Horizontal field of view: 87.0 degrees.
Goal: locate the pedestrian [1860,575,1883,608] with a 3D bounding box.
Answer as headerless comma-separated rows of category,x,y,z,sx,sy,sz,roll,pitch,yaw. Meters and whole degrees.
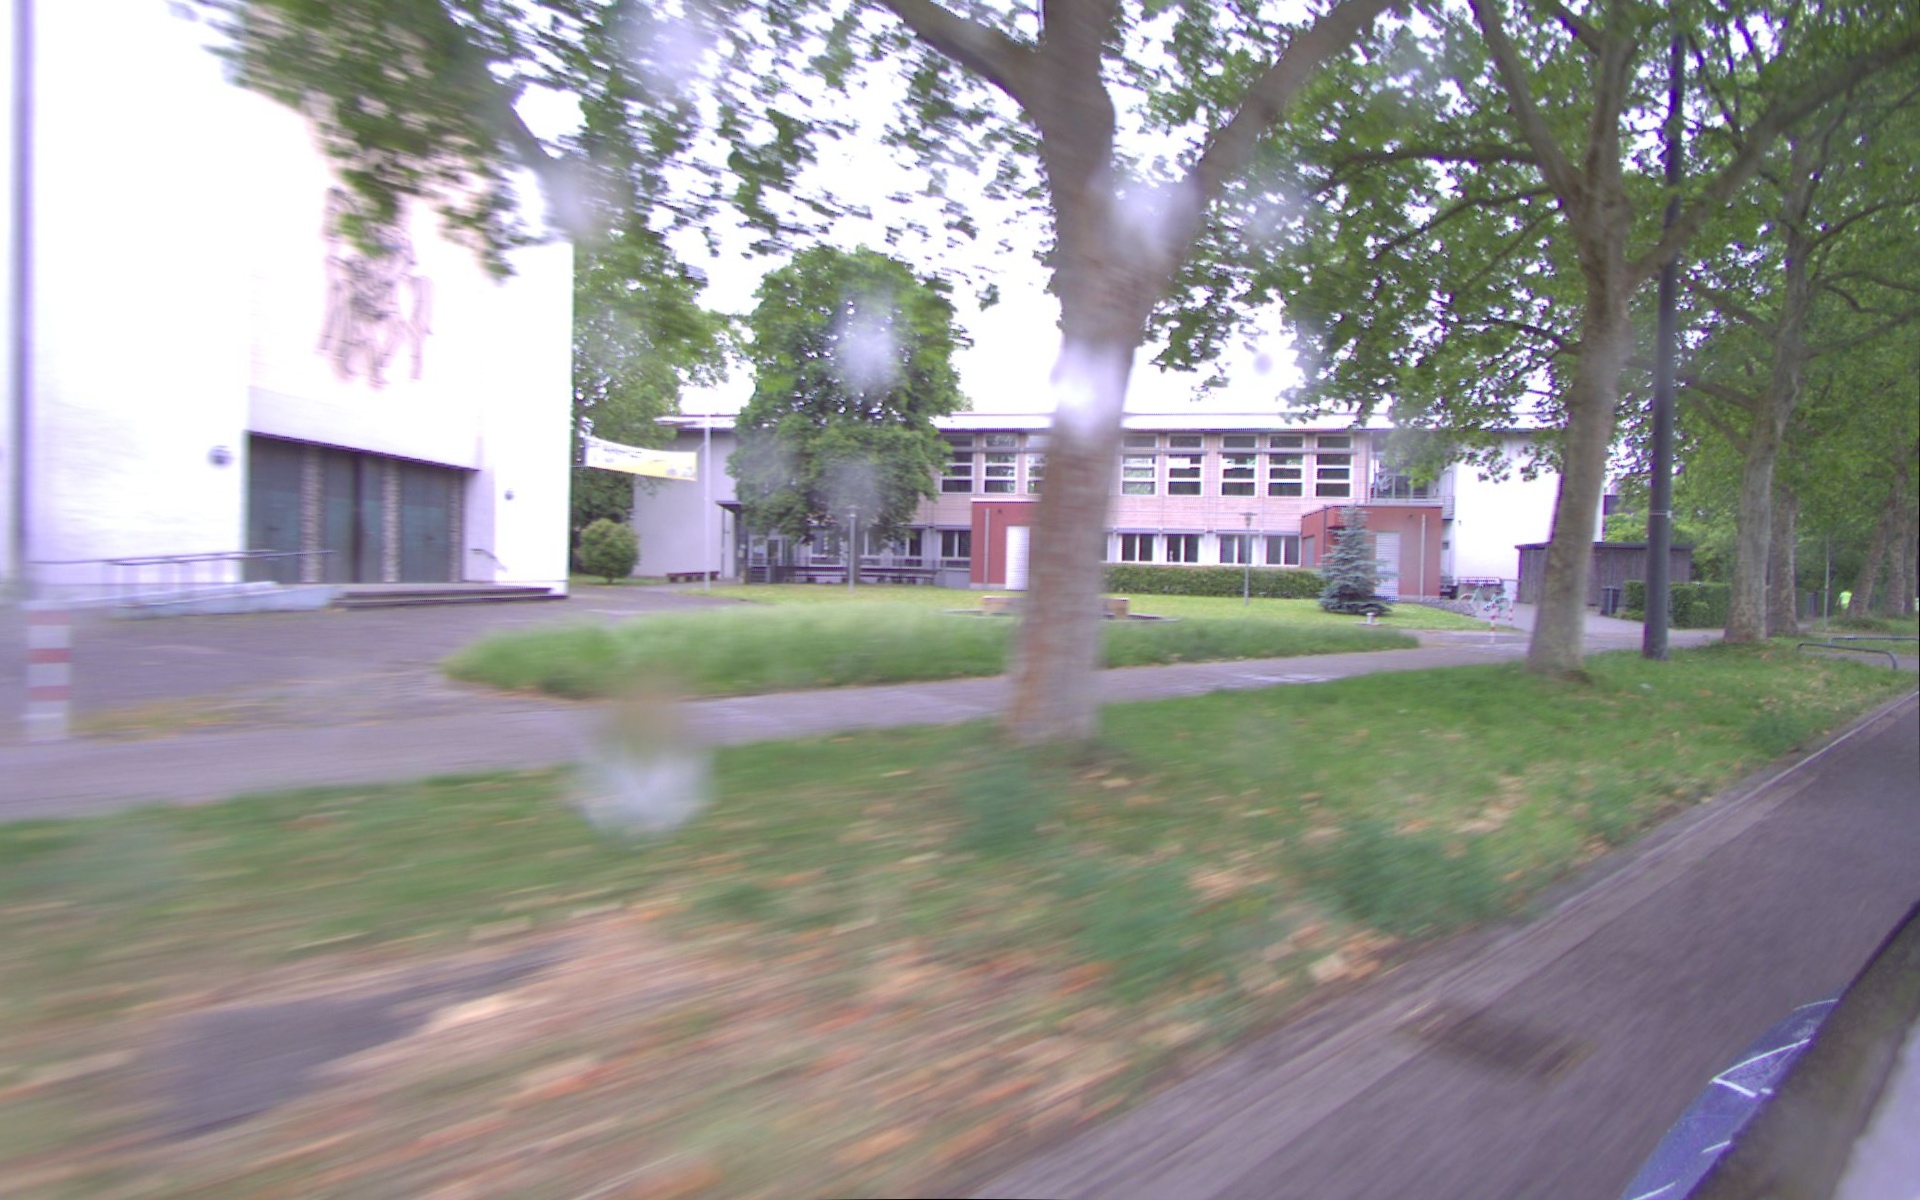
pedestrian,43.138,-0.409,47.899,0.576,1.557,0.746,0,2,-45

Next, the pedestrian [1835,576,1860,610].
pedestrian,41.409,-0.344,47.225,0.576,1.557,0.747,0,2,-42

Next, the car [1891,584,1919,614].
car,51.273,0.017,52.554,3.983,1.505,1.623,3,2,30

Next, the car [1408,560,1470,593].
car,22.103,-1.098,46.845,1.721,1.469,3.572,0,2,11

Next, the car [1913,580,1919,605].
car,59.599,-0.347,60.130,3.983,1.505,1.623,3,2,30

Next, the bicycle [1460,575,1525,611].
bicycle,18.361,-0.250,34.918,1.902,1.135,0.521,2,3,2
